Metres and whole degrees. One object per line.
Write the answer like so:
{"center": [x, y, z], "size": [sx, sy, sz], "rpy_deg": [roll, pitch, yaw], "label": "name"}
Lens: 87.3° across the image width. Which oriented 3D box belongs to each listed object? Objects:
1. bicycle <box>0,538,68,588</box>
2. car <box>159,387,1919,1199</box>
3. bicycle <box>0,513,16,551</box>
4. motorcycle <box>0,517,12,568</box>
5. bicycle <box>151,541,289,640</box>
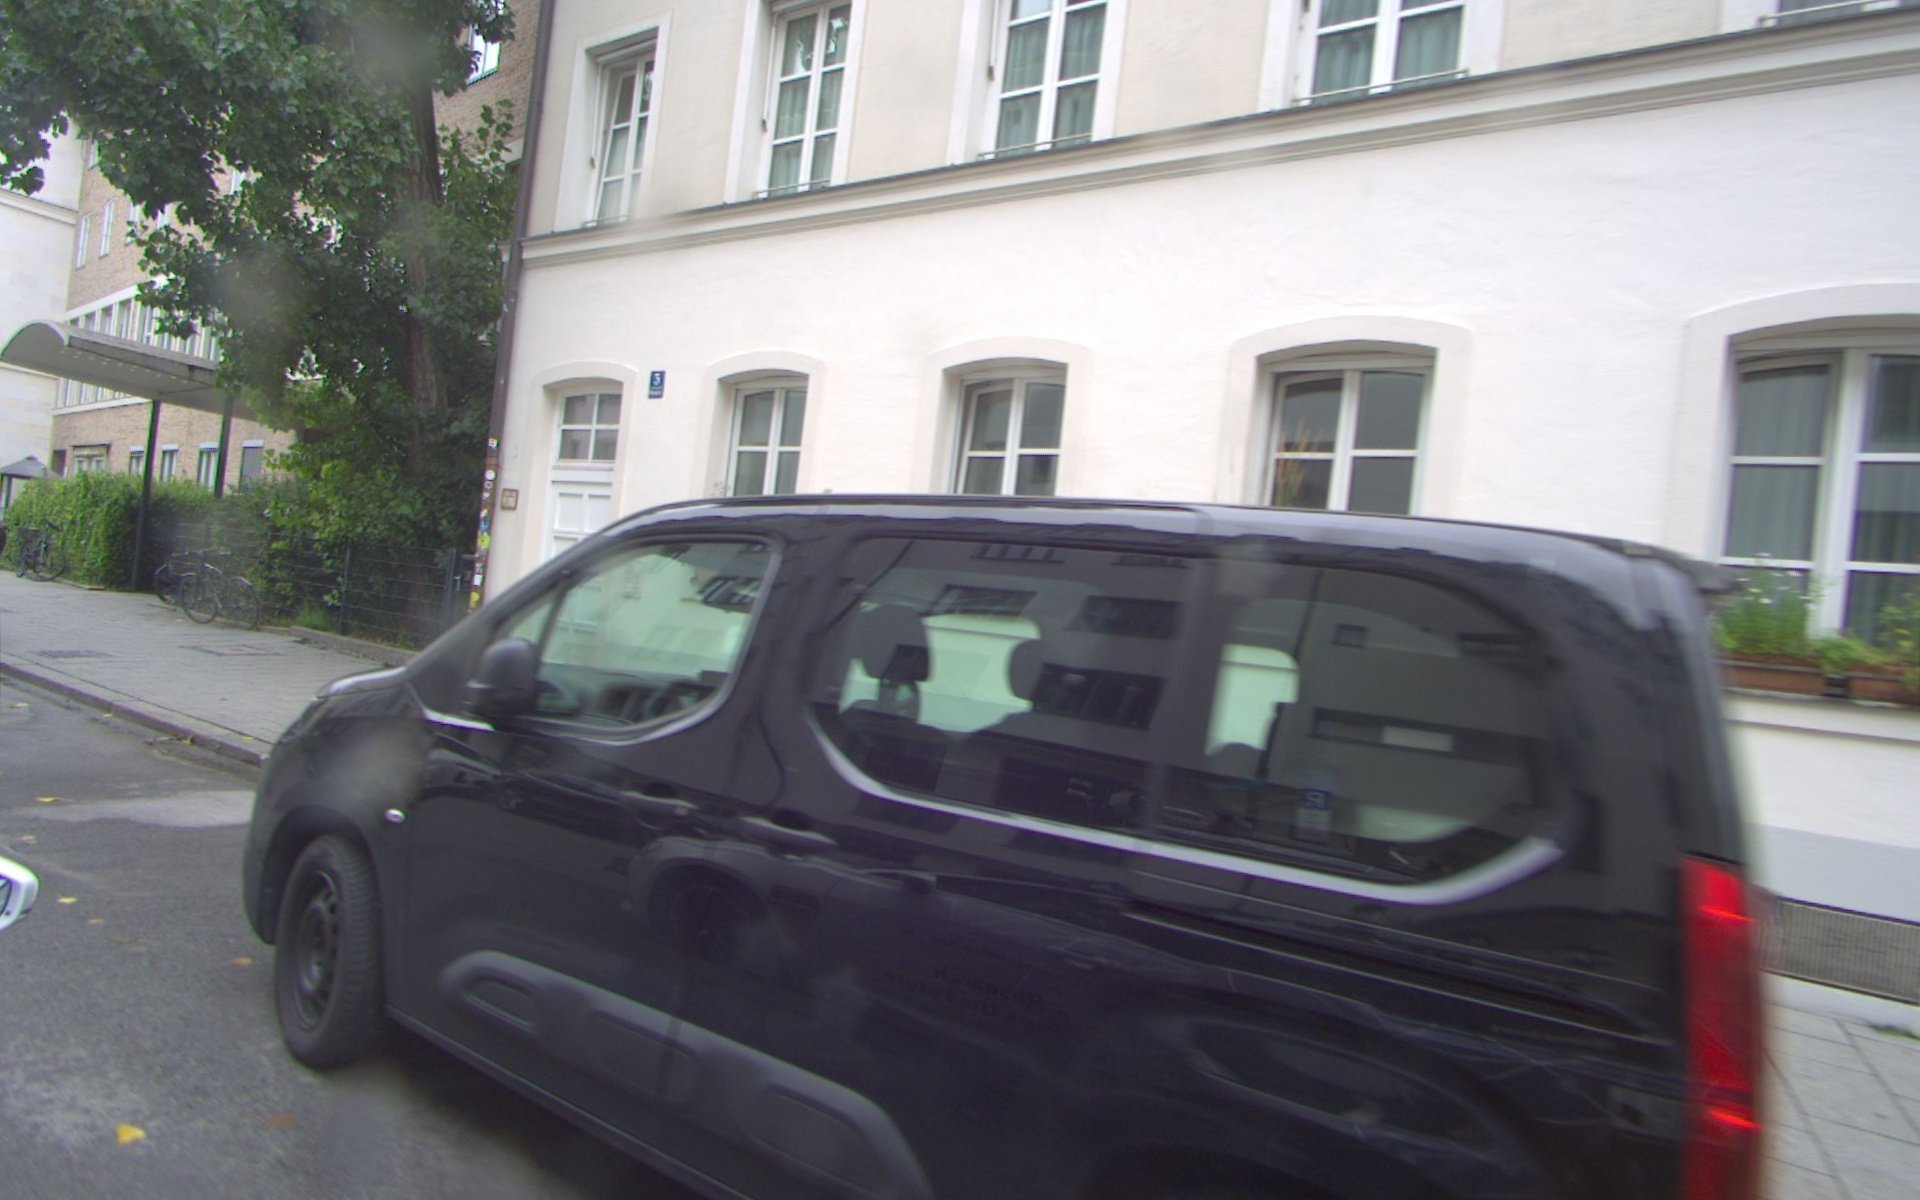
{"center": [-18.199, -0.731, 19.759], "size": [1.409, 0.827, 0.517], "rpy_deg": [7, 0, 29], "label": "bicycle"}
{"center": [-0.248, 0.596, 2.943], "size": [4.132, 1.796, 1.851], "rpy_deg": [6, -3, 32], "label": "car"}
{"center": [-28.185, -2.032, 28.926], "size": [0.343, 1.055, 1.429], "rpy_deg": [7, 0, 35], "label": "bicycle"}
{"center": [-21.649, -1.351, 22.219], "size": [1.892, 1.066, 0.489], "rpy_deg": [7, -1, 33], "label": "motorcycle"}
{"center": [-10.059, -0.142, 13.650], "size": [2.187, 1.087, 0.671], "rpy_deg": [6, 0, 32], "label": "bicycle"}
